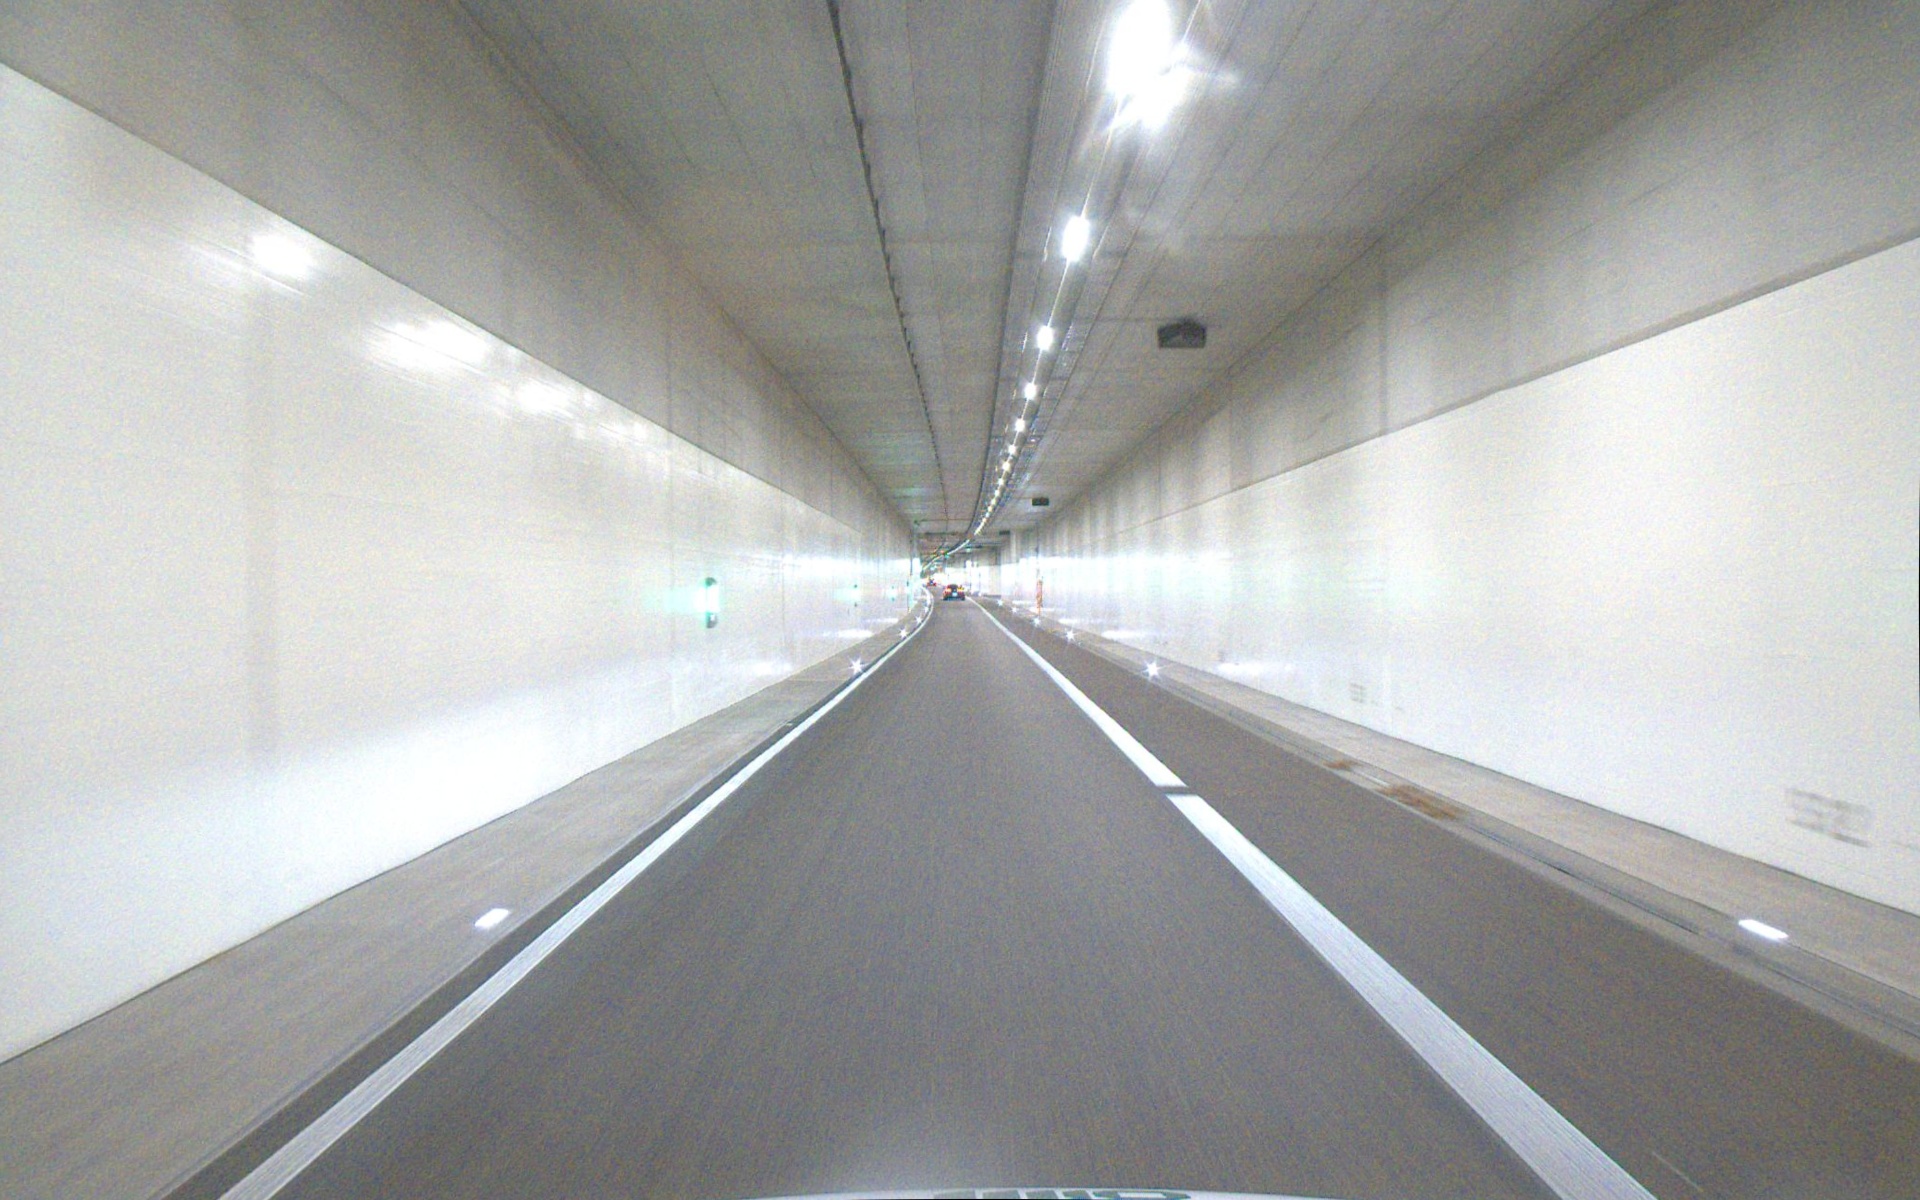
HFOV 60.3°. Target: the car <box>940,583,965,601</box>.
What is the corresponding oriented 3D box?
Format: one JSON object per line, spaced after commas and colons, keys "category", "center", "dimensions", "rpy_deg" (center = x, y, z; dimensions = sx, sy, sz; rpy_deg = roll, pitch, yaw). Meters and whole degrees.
{"category": "car", "center": [-0.649, -0.719, 143.671], "dimensions": [1.954, 1.444, 3.998], "rpy_deg": [4, 0, -2]}
